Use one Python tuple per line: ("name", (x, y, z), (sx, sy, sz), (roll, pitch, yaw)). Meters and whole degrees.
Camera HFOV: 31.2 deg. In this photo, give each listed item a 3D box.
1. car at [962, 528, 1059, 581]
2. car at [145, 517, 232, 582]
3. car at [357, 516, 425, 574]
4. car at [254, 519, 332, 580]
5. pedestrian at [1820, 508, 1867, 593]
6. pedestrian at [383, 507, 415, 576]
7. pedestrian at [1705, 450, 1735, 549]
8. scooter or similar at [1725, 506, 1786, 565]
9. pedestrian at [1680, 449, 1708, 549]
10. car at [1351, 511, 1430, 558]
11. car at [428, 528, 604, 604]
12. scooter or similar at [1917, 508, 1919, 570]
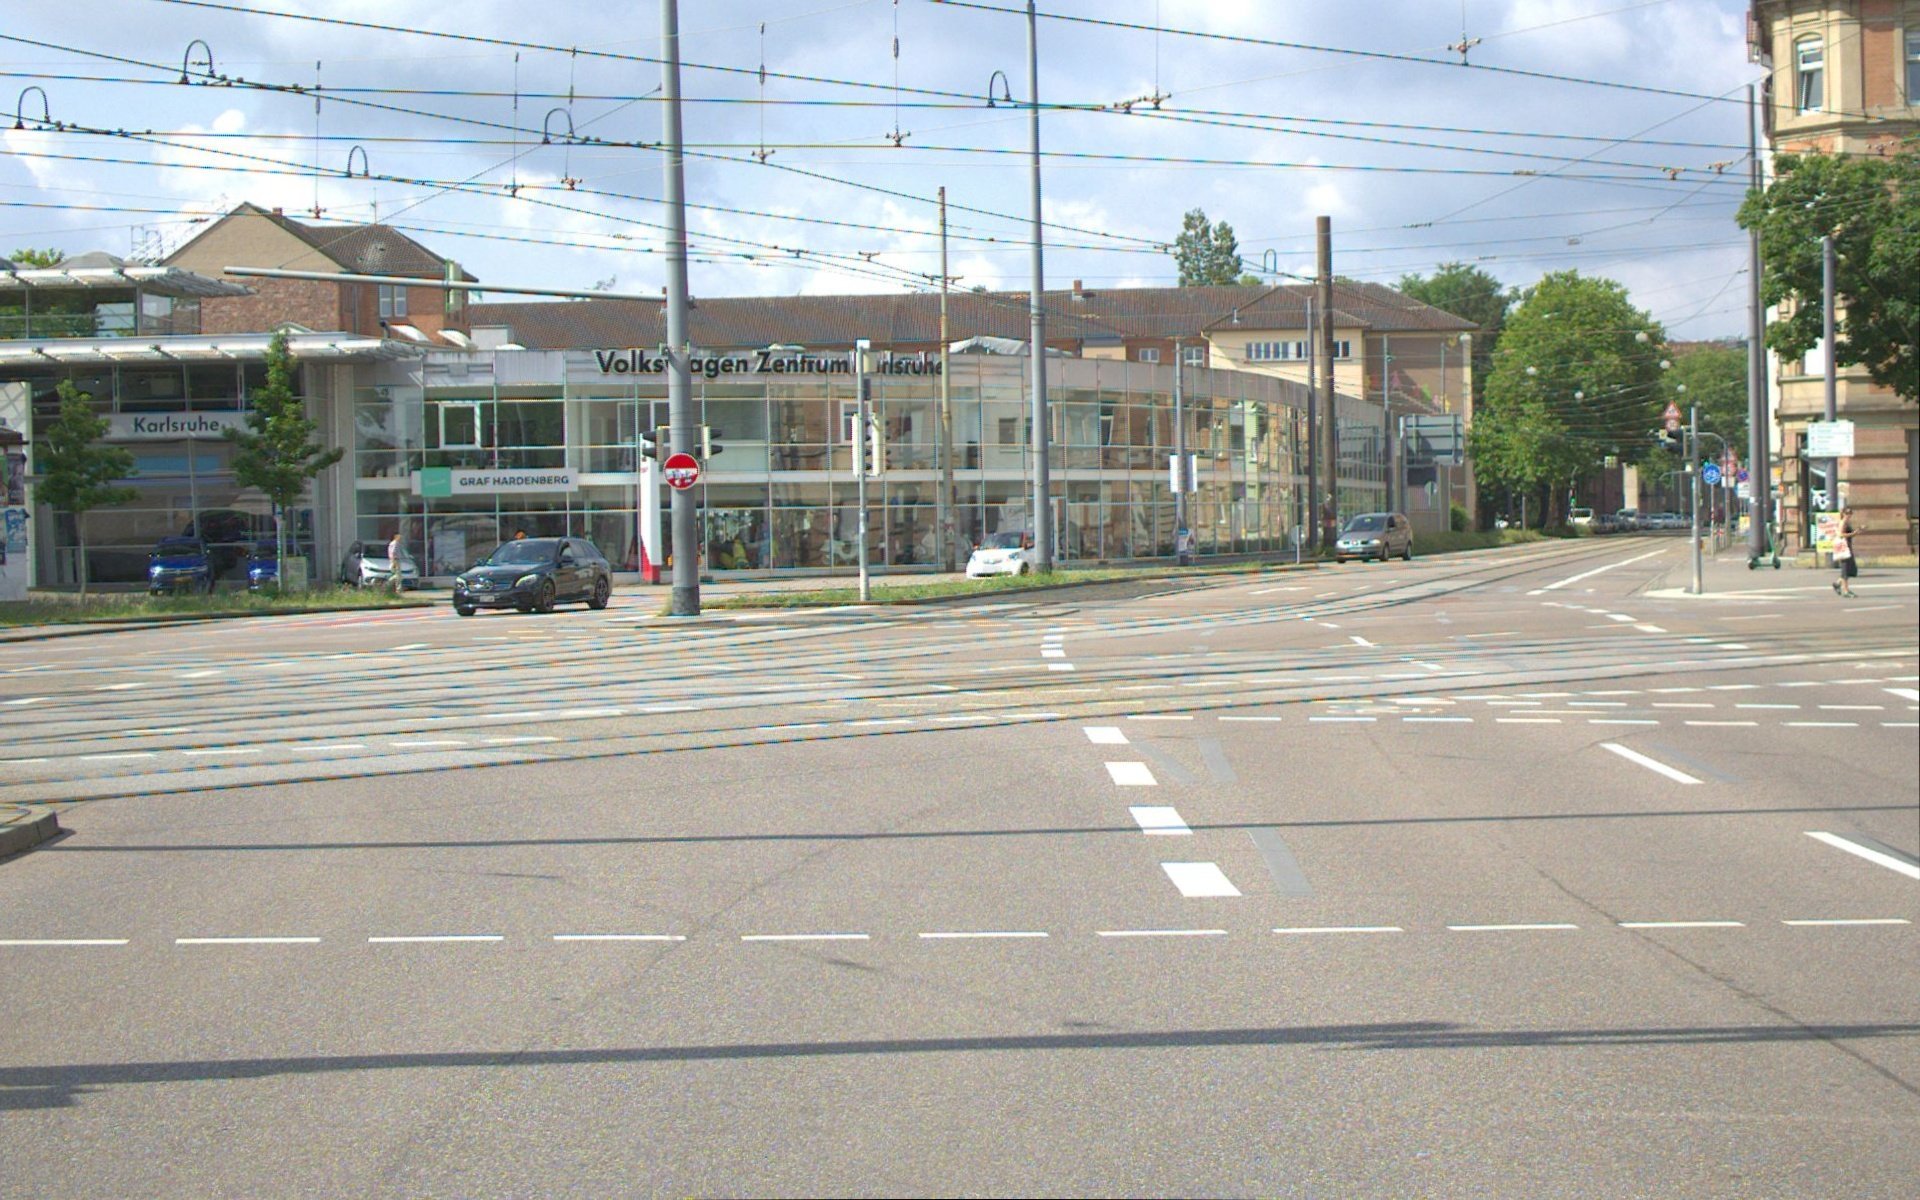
("car", (1.451, -1.279, 97.286), (1.687, 1.465, 3.653), (1, 0, 19))
("car", (-22.826, -1.479, 101.812), (1.993, 1.831, 4.001), (-2, 1, -6))
("car", (-17.116, -1.628, 103.285), (1.928, 1.678, 4.001), (1, 0, -11))
("car", (-19.633, -1.480, 101.352), (1.993, 1.719, 4.001), (1, 0, -7))
("pedestrian", (15.866, -0.885, 61.733), (0.741, 1.510, 0.544), (0, 1, 22))
("pedestrian", (-16.300, -1.705, 99.922), (0.869, 2.007, 0.704), (-1, 1, -10))
("pedestrian", (23.689, -3.134, 107.176), (0.725, 3.065, 0.887), (1, 0, 23))
("scooter or similar", (19.333, -1.556, 83.628), (1.177, 1.381, 2.803), (1, 0, 8))
("pedestrian", (22.948, -3.146, 107.501), (0.667, 3.110, 0.887), (1, 0, 23))
("car", (14.998, -2.286, 119.694), (1.995, 1.568, 3.733), (-1, 1, 19))
("car", (-8.486, -0.670, 66.074), (1.866, 1.371, 3.937), (-1, 1, 17))
("scooter or similar", (23.258, -1.464, 81.723), (0.878, 1.477, 2.013), (-1, 1, 14))
